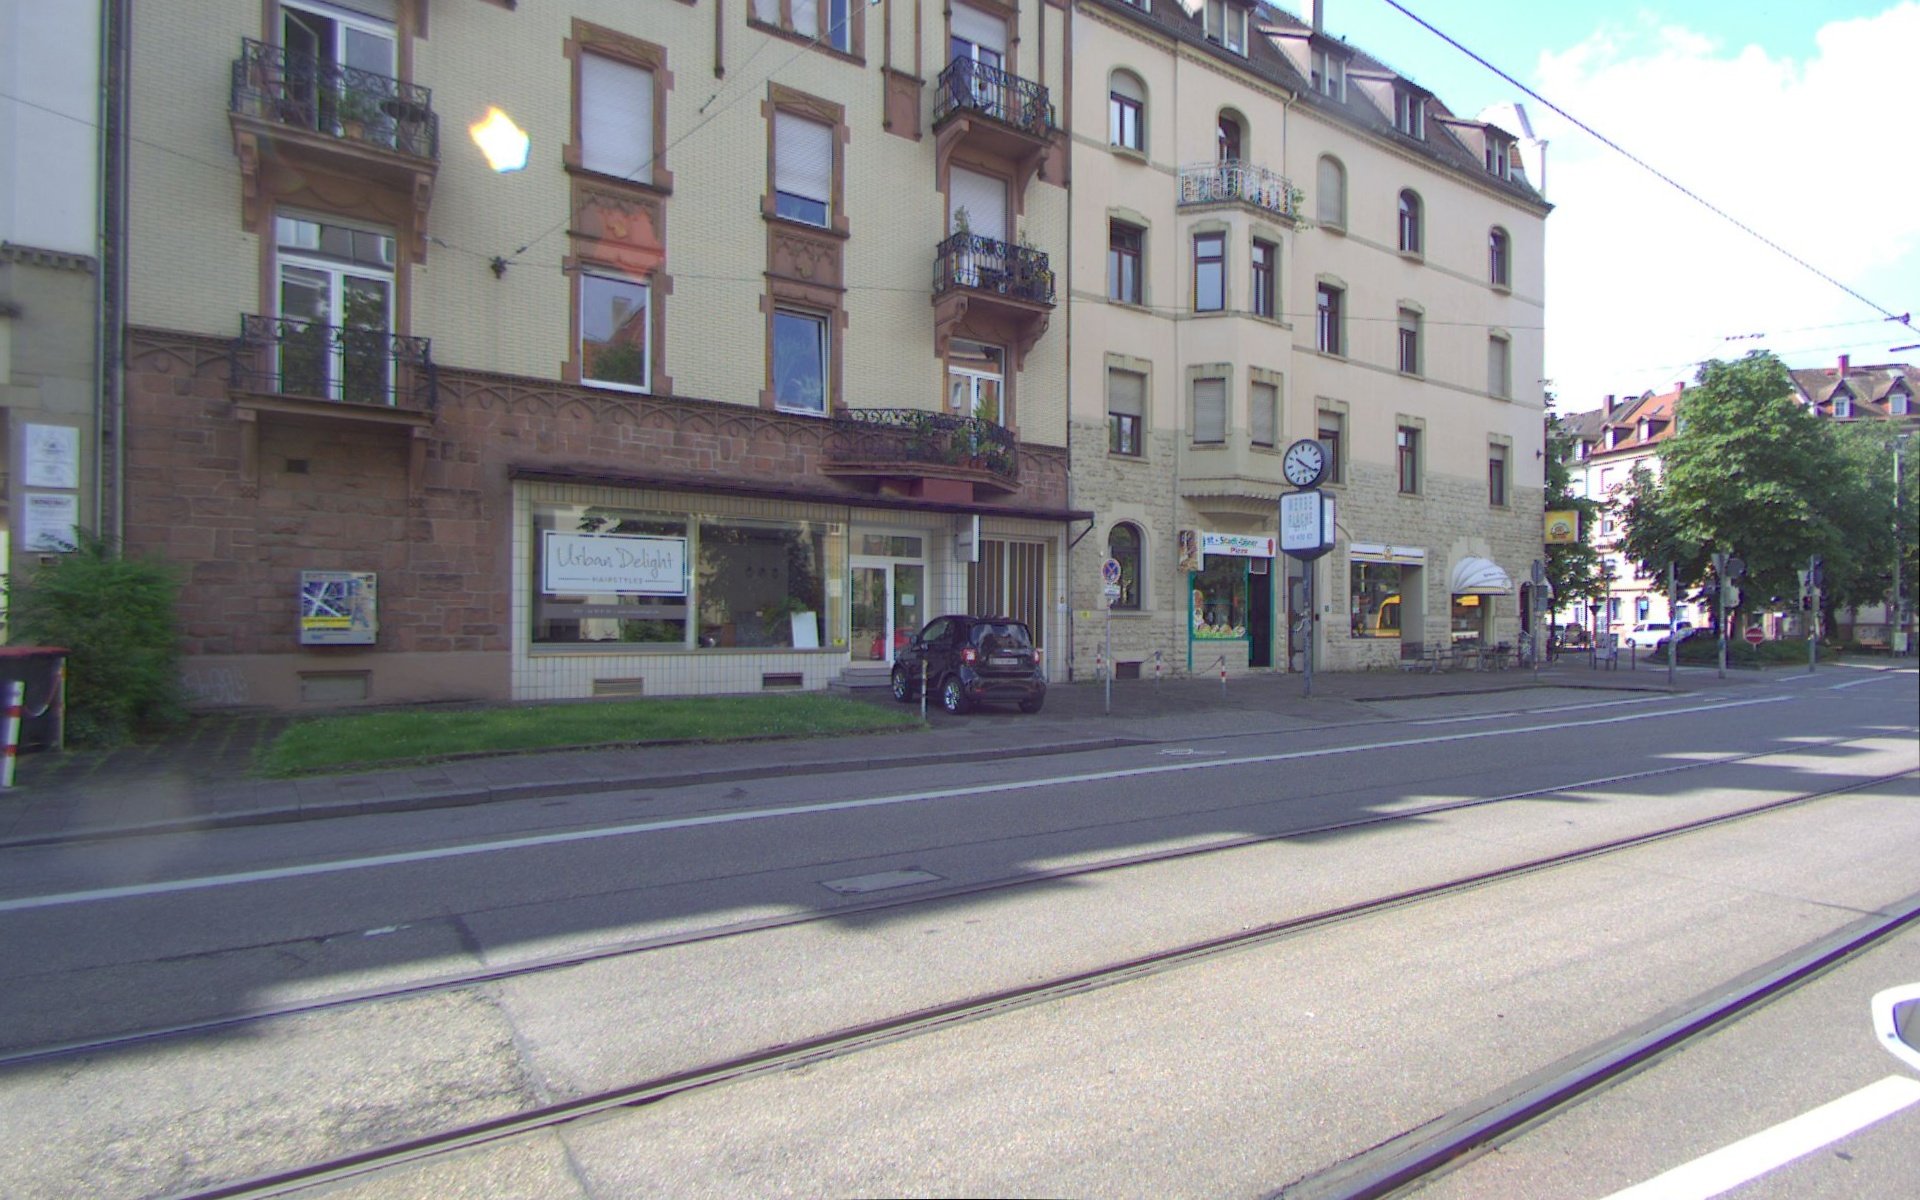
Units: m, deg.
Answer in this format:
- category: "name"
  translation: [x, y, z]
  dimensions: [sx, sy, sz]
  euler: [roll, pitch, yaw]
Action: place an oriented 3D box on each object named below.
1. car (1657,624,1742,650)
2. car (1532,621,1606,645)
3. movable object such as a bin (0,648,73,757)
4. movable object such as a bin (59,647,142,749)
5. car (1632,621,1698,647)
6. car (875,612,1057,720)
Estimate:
- category: "car"
  translation: [44.992, 2.231, 61.166]
  dimensions: [4.011, 1.538, 1.752]
  euler: [-1, -2, 42]
- category: "car"
  translation: [42.248, 2.275, 69.766]
  dimensions: [1.976, 1.617, 3.970]
  euler: [1, -1, -29]
- category: "movable object such as a bin"
  translation: [-9.451, 1.015, 10.079]
  dimensions: [0.468, 1.043, 0.704]
  euler: [0, -1, 30]
- category: "movable object such as a bin"
  translation: [-9.162, 1.026, 10.708]
  dimensions: [0.468, 1.043, 0.536]
  euler: [0, -1, 30]
- category: "car"
  translation: [53.443, 2.555, 76.212]
  dimensions: [1.962, 1.929, 3.997]
  euler: [1, -1, -5]
- category: "car"
  translation: [0.022, 1.031, 17.012]
  dimensions: [1.716, 1.505, 3.163]
  euler: [1, 1, -30]
